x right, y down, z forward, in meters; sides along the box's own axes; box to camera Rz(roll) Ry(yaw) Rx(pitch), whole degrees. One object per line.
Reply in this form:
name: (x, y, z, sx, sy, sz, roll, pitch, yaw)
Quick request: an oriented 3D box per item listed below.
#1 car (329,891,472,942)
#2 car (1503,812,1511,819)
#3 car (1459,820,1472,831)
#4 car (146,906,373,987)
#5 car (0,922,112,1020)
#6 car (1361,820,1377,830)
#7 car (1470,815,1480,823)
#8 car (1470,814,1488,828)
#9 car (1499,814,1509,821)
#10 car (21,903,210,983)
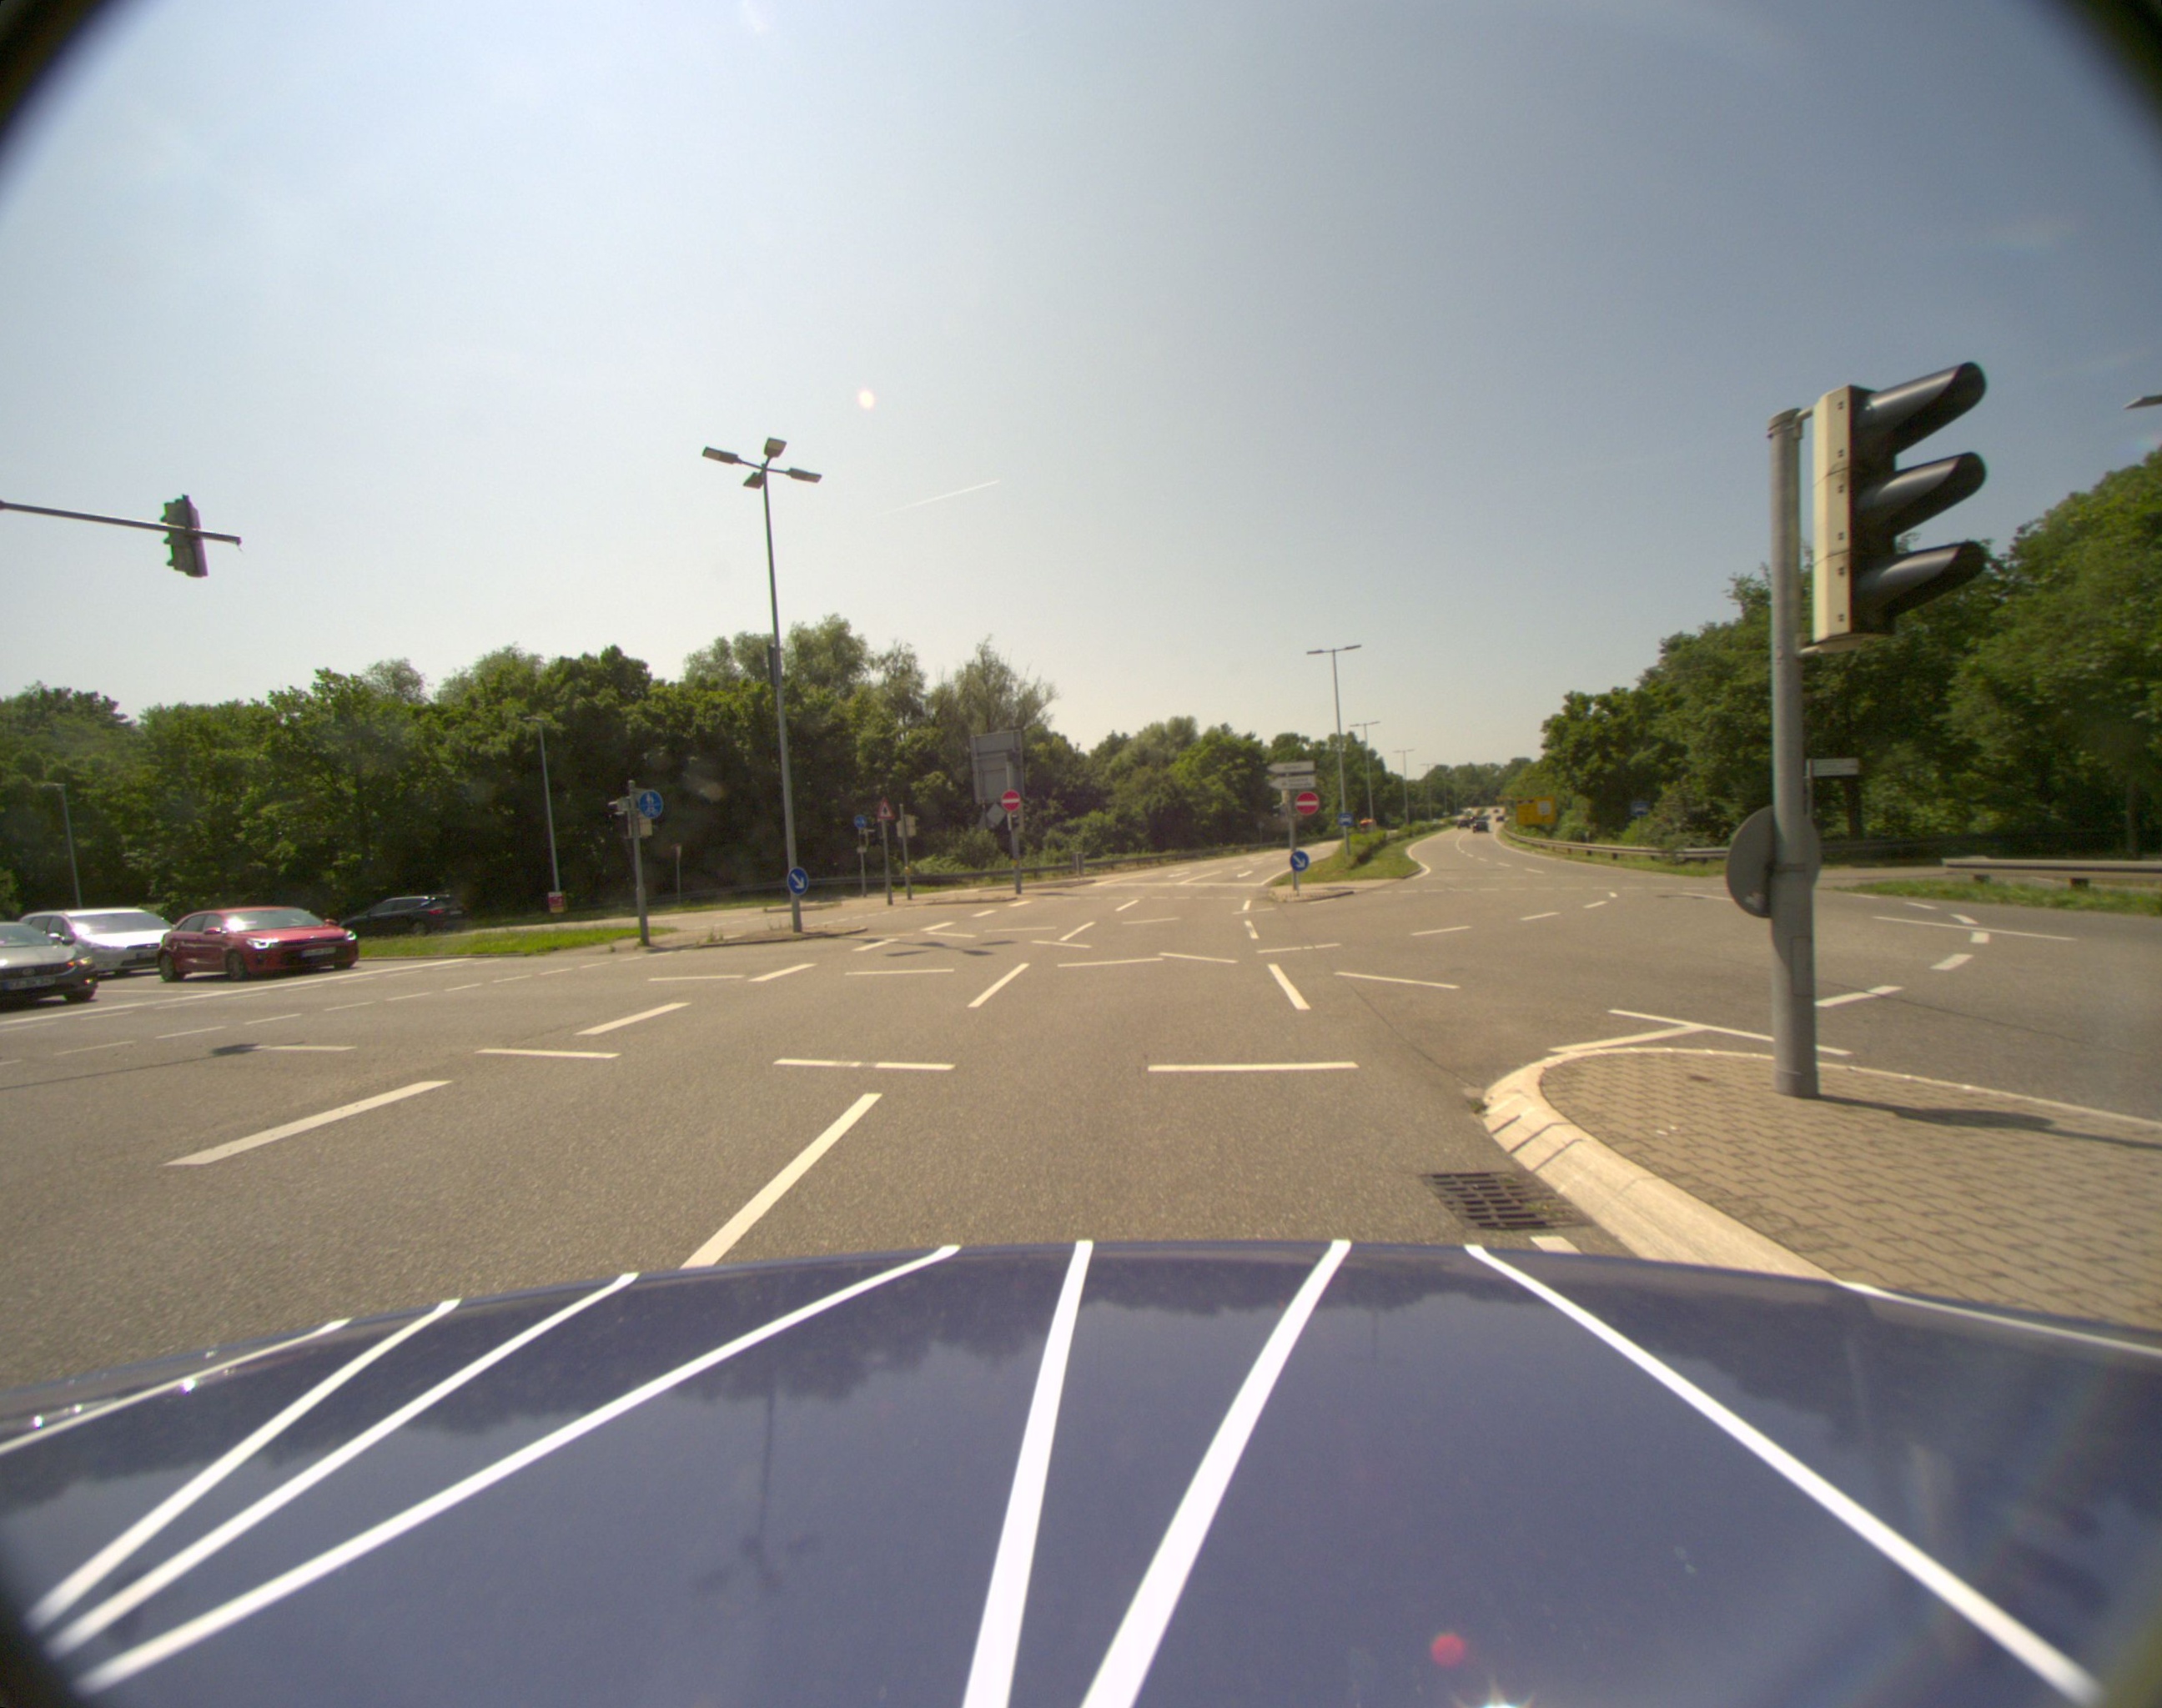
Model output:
car: (-25.220, 2.287, 28.229, 3.995, 1.543, 1.548, -3, 1, 5)
car: (128.082, -11.475, 228.502, 1.995, 2.002, 4.006, -3, 1, 31)
car: (61.934, -4.586, 122.347, 1.736, 1.679, 3.829, -3, 1, 27)
car: (-16.977, 1.873, 15.700, 4.177, 1.347, 1.757, -3, 1, 22)
car: (-18.763, 1.988, 12.803, 4.177, 1.415, 1.870, -3, 1, 22)
car: (48.964, -4.946, 129.211, 1.842, 1.422, 3.583, -3, 1, 30)
car: (80.387, -7.148, 155.031, 1.777, 1.494, 3.585, -3, 1, 29)
car: (51.748, -4.262, 98.916, 1.708, 1.617, 4.005, -3, 1, 24)
car: (95.150, -8.273, 170.983, 1.777, 1.494, 3.585, -3, 1, 30)
car: (-23.229, 2.135, 18.304, 3.600, 1.642, 1.584, -3, 1, 18)
